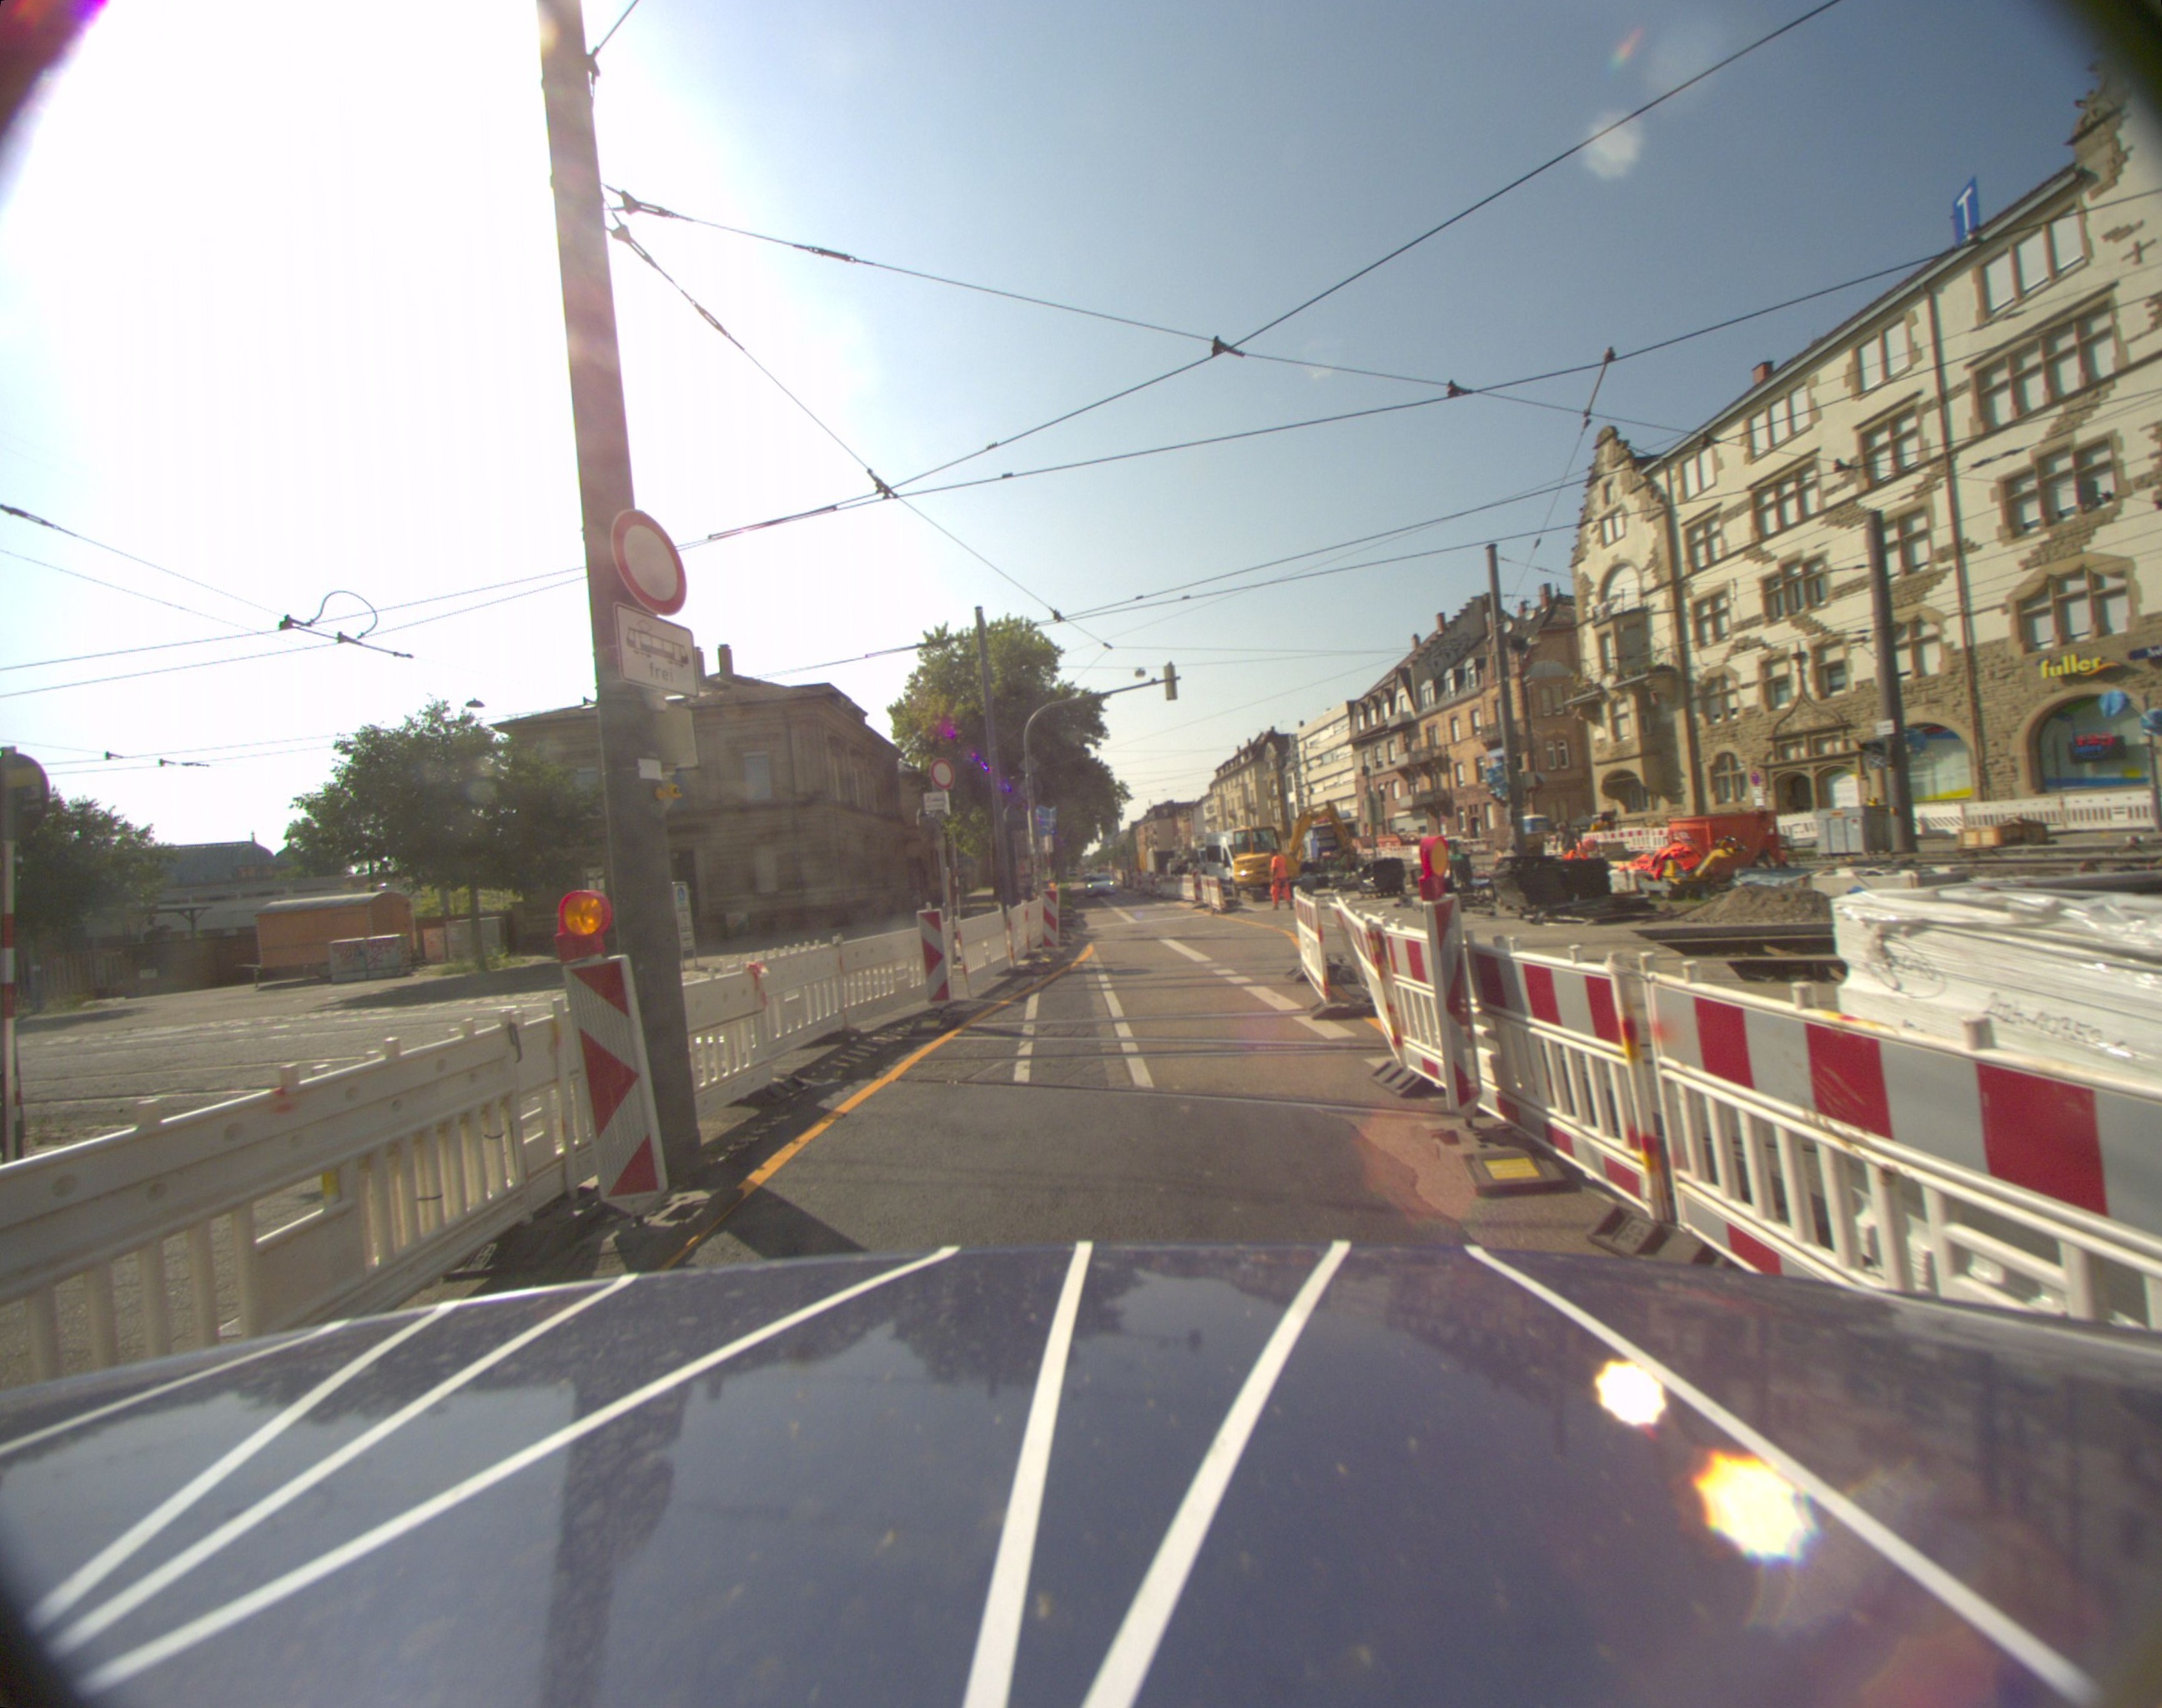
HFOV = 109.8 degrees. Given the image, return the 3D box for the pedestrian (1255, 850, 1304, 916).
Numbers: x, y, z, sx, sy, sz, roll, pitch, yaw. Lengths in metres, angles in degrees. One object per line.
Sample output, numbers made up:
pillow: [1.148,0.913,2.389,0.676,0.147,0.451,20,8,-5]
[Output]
pedestrian: [5.469,0.805,20.943,0.703,1.729,0.910,-5,0,-37]

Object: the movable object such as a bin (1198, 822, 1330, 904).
movable object such as a bin: [6.314,0.320,26.469,3.174,2.395,2.916,-6,0,-20]

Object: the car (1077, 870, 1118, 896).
car: [0.997,1.832,48.973,1.999,1.387,3.998,-5,-1,-6]
